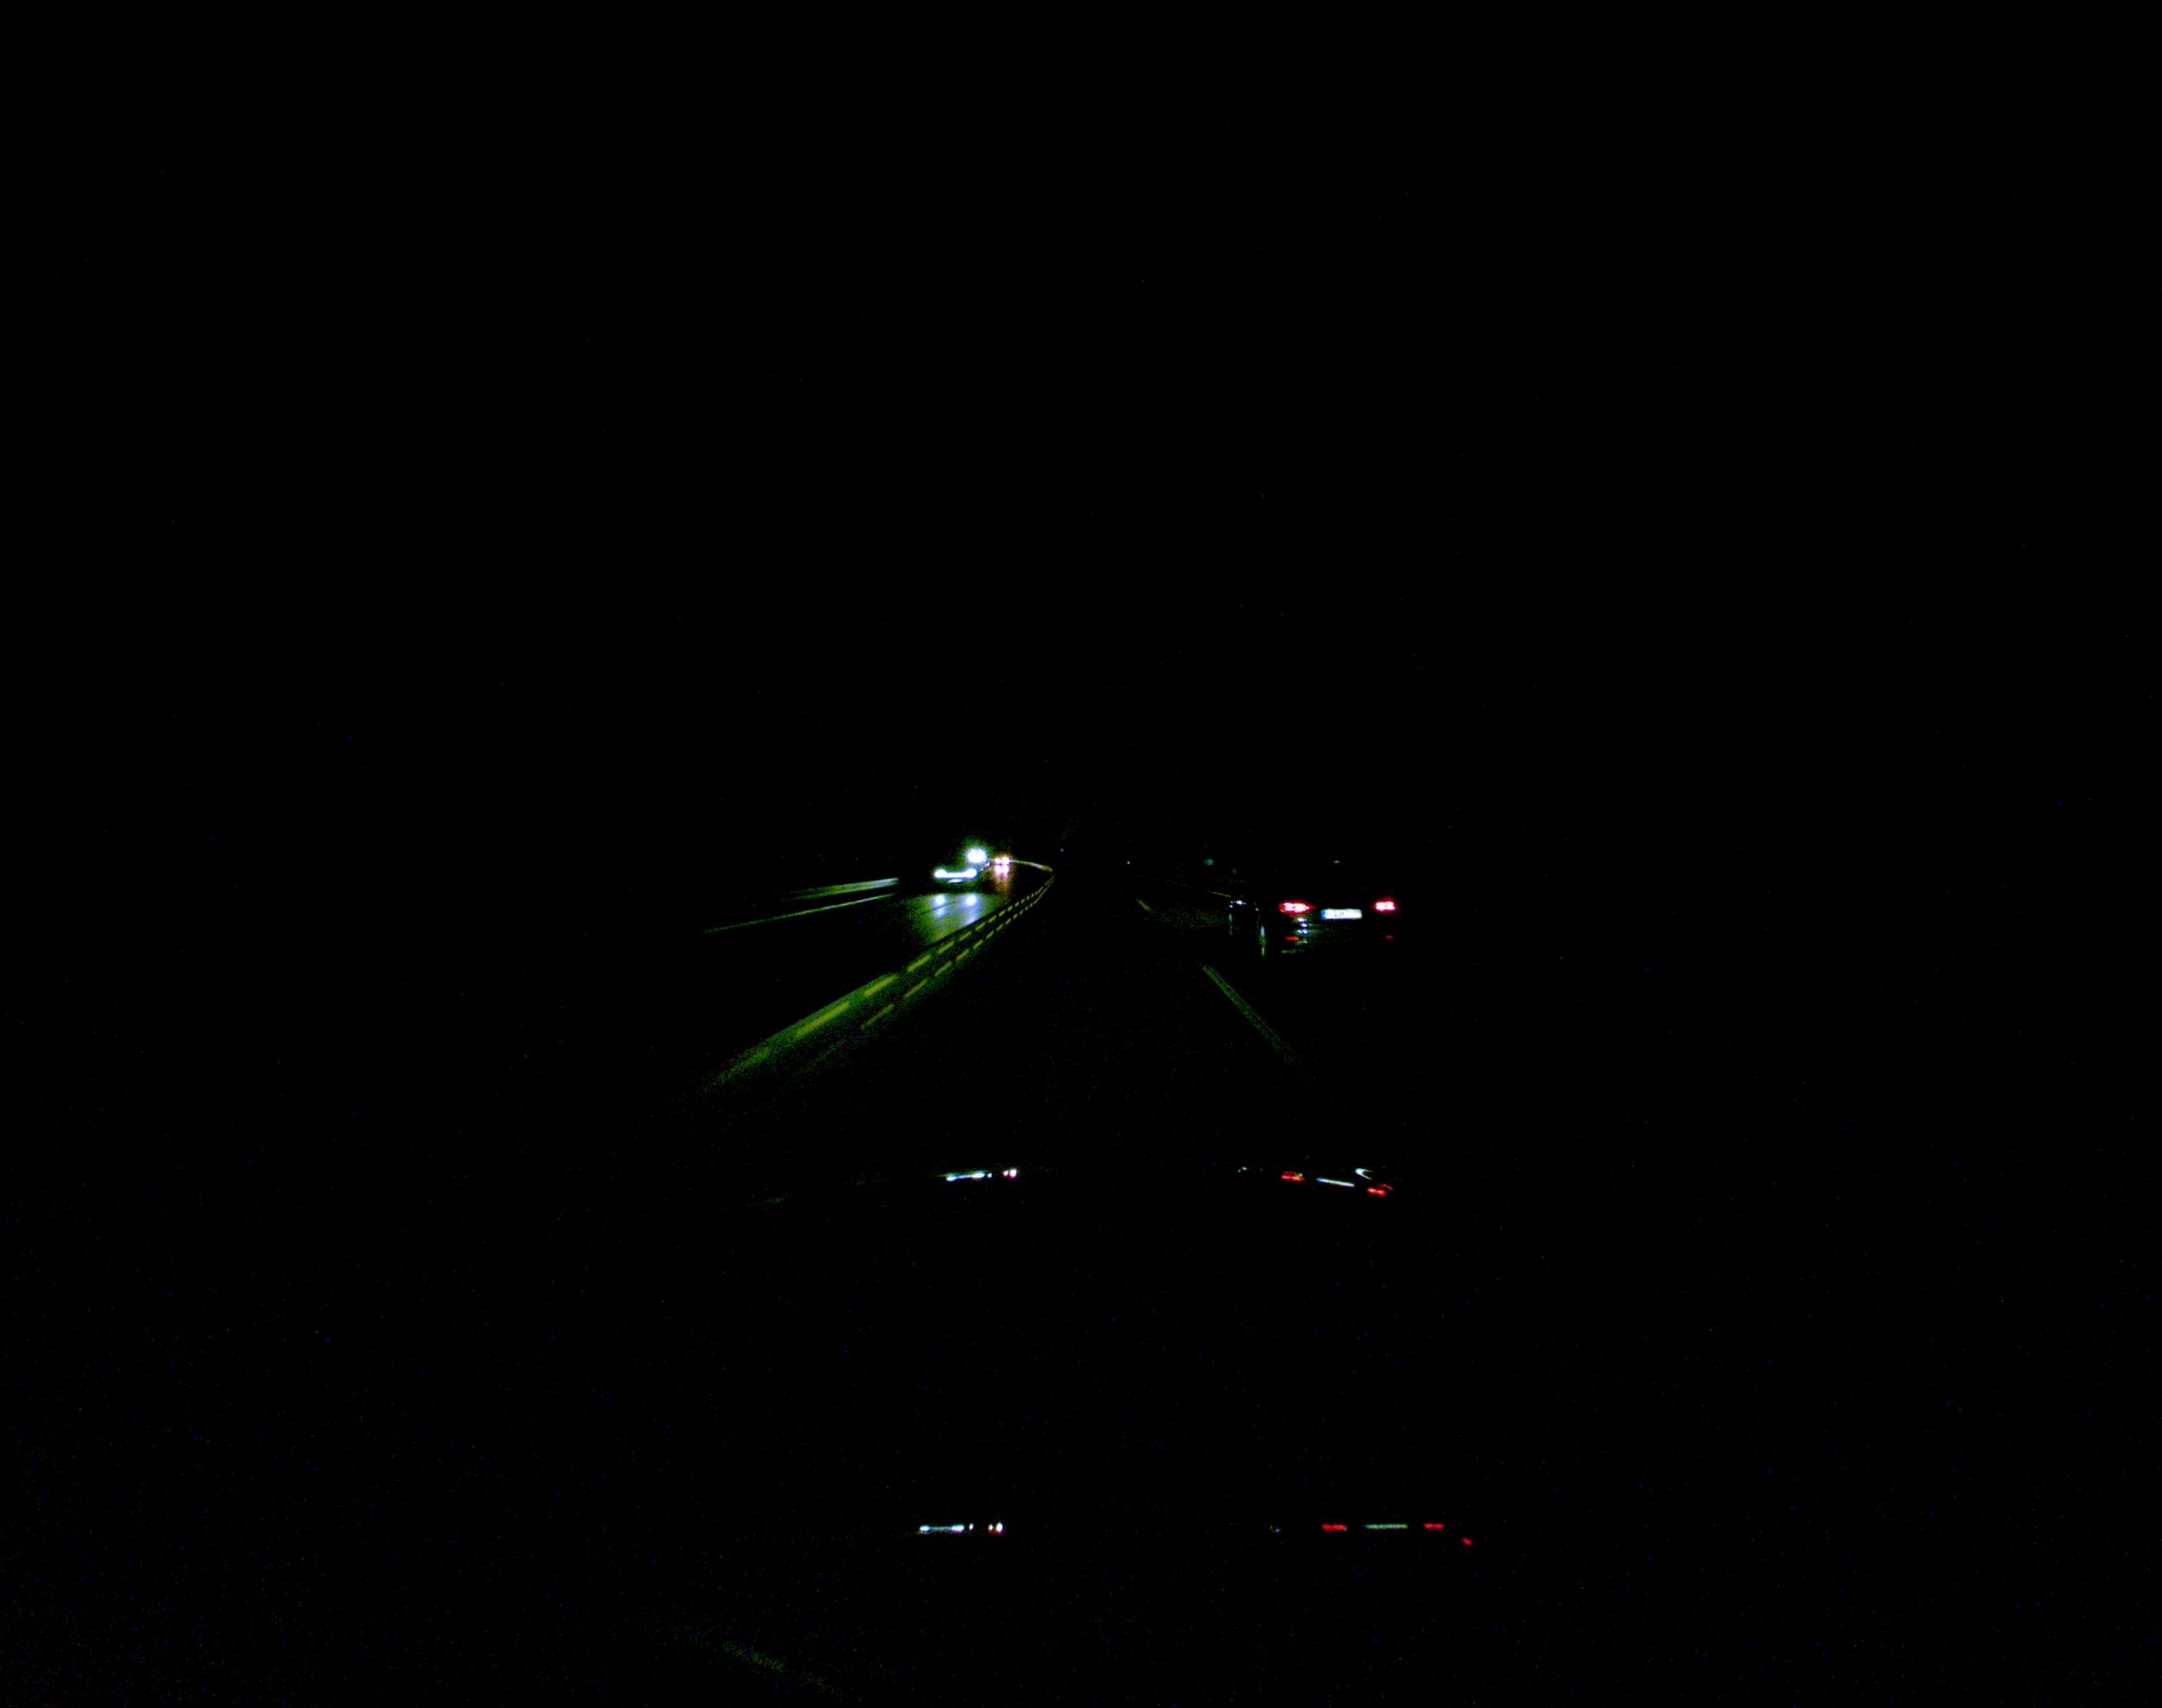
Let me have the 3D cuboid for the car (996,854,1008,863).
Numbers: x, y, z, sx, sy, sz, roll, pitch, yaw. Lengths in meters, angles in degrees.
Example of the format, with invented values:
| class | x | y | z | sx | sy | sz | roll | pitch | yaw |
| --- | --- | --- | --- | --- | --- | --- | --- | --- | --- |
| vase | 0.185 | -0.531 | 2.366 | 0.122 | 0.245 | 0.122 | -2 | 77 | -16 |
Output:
| class | x | y | z | sx | sy | sz | roll | pitch | yaw |
| --- | --- | --- | --- | --- | --- | --- | --- | --- | --- |
| car | -13.401 | 0.808 | 138.233 | 1.684 | 1.459 | 4.186 | -1 | 0 | -9 |

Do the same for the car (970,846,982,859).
| class | x | y | z | sx | sy | sz | roll | pitch | yaw |
| --- | --- | --- | --- | --- | --- | --- | --- | --- | --- |
| car | -27.568 | -0.317 | 214.004 | 2.488 | 3.105 | 7.353 | -1 | -1 | -12 |

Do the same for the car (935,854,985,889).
| class | x | y | z | sx | sy | sz | roll | pitch | yaw |
| --- | --- | --- | --- | --- | --- | --- | --- | --- | --- |
| car | -6.063 | 0.867 | 41.404 | 2.008 | 1.639 | 4.857 | -1 | -1 | -3 |

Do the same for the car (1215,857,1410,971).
| class | x | y | z | sx | sy | sz | roll | pitch | yaw |
| --- | --- | --- | --- | --- | --- | --- | --- | --- | --- |
| car | 3.389 | 0.791 | 12.973 | 1.801 | 1.426 | 4.876 | -1 | 0 | 1 |

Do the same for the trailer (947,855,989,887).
| class | x | y | z | sx | sy | sz | roll | pitch | yaw |
| --- | --- | --- | --- | --- | --- | --- | --- | --- | --- |
| trailer | -6.269 | 0.934 | 45.513 | 2.009 | 1.639 | 3.413 | -1 | -1 | -4 |
